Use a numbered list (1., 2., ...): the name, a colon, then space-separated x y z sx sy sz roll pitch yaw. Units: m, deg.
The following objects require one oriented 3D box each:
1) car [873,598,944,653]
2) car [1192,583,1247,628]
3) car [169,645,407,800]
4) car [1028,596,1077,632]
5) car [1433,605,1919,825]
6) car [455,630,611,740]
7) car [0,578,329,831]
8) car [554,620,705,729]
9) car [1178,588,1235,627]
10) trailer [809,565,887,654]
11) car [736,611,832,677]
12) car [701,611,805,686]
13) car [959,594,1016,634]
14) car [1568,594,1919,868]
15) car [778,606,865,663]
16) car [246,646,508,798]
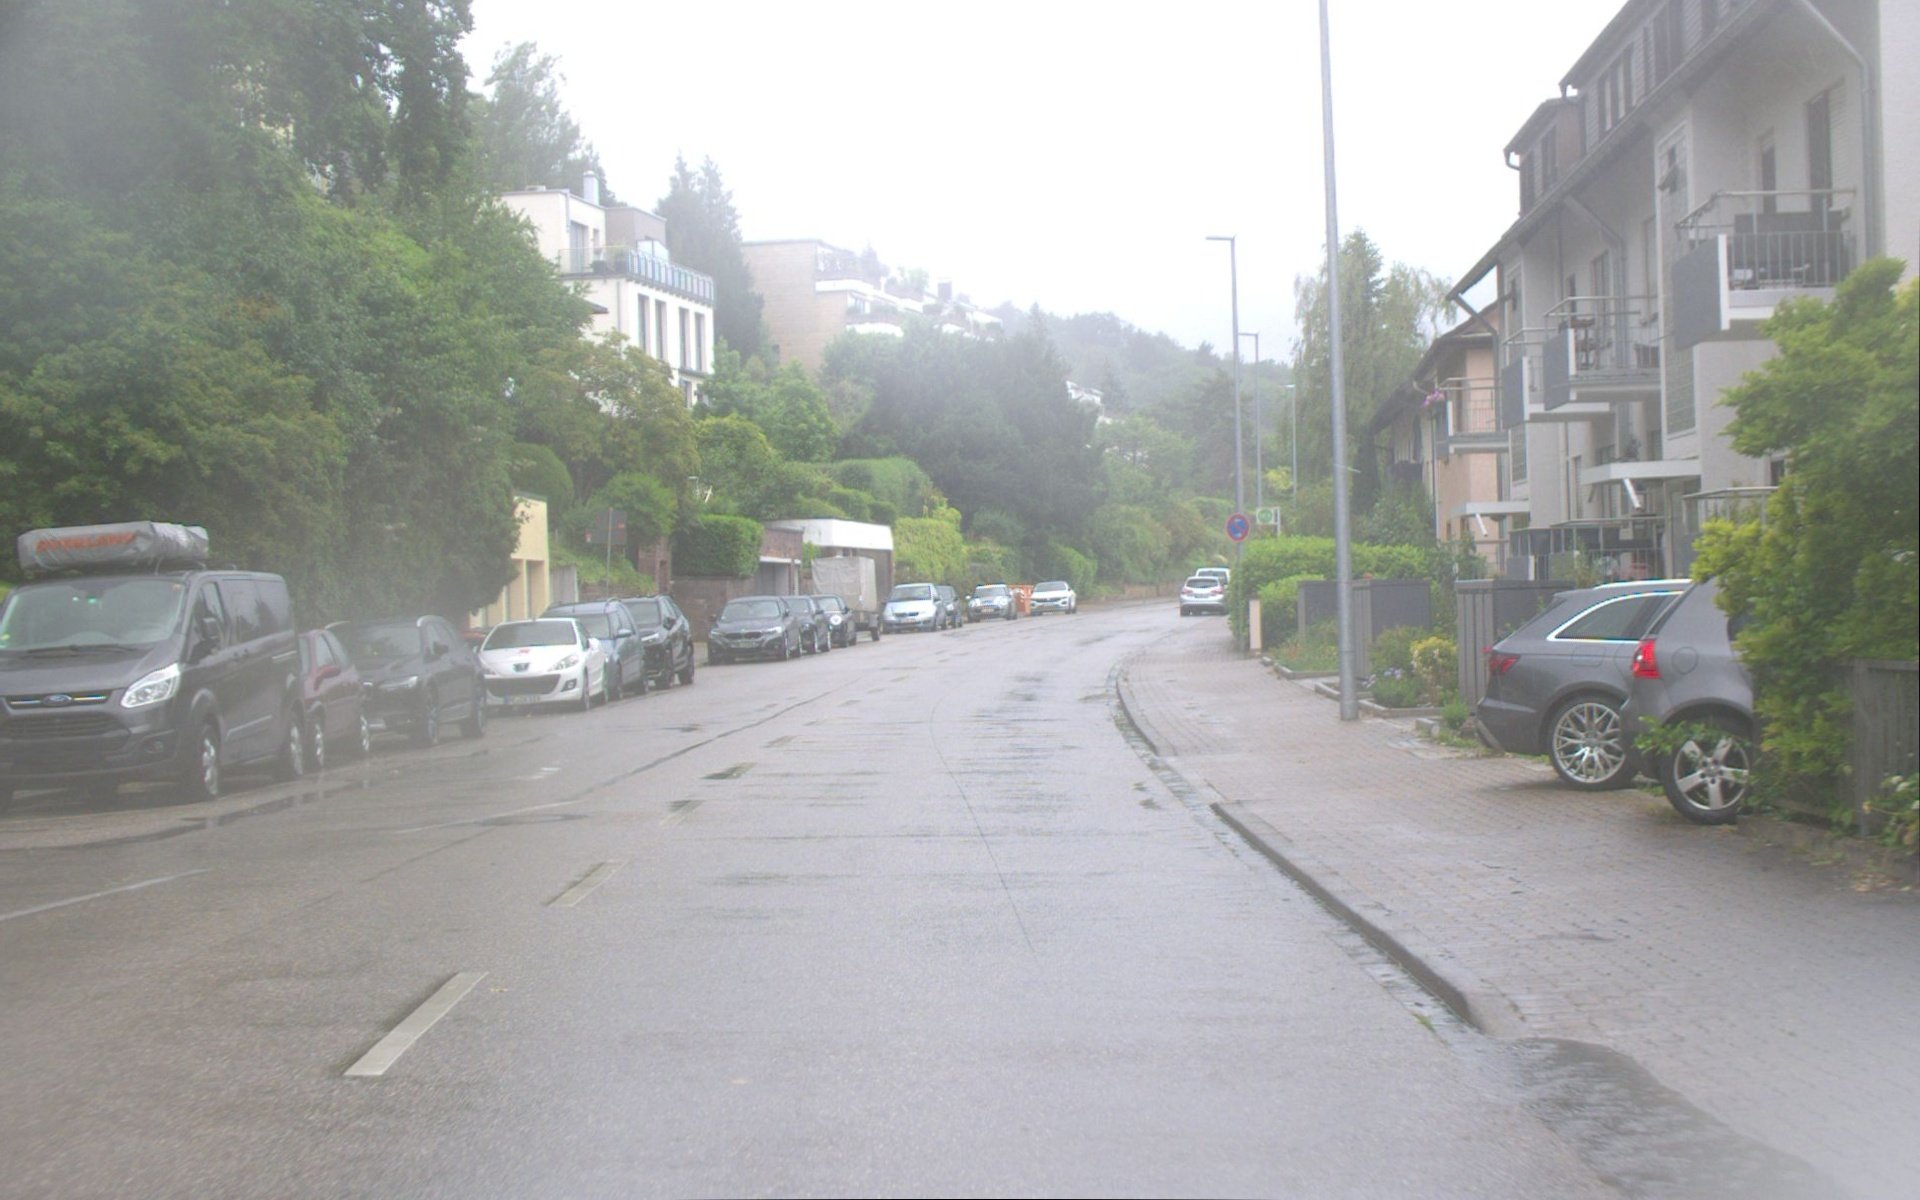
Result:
1. car: -1.644 0.814 111.687 1.756 1.534 3.756 -5 0 6
2. car: 10.550 0.213 139.704 1.785 1.784 4.359 -2 0 9
3. car: -6.820 1.214 35.254 1.564 1.360 3.907 -4 0 1
4. car: 4.141 0.634 153.369 1.756 1.493 4.219 -3 0 7
5. car: 5.538 0.738 22.684 4.376 1.360 1.916 -1 -1 35
6. car: -6.328 1.236 51.324 1.716 1.361 4.083 -4 1 0
7. car: -7.135 0.843 29.666 2.158 1.912 5.323 -3 0 2
8. car: -5.855 1.296 61.434 1.874 1.620 4.592 -5 0 4
9. car: 9.597 0.275 133.800 1.790 1.455 4.306 -2 0 9
10. trailer: -3.156 0.249 97.441 1.537 2.391 3.072 -4 0 8
11. car: -4.325 1.077 85.185 1.786 1.410 4.217 -3 1 4
12. car: -4.748 1.094 79.366 1.786 1.450 4.755 -4 1 3
13. car: 1.094 0.528 134.439 1.756 1.398 3.769 -4 0 6
14. car: 5.659 0.701 19.337 3.995 1.452 1.768 -2 0 35
15. car: -3.681 0.902 91.839 1.808 1.345 3.775 -3 1 4
16. car: -6.718 1.373 40.135 1.908 1.475 4.755 -5 0 3
